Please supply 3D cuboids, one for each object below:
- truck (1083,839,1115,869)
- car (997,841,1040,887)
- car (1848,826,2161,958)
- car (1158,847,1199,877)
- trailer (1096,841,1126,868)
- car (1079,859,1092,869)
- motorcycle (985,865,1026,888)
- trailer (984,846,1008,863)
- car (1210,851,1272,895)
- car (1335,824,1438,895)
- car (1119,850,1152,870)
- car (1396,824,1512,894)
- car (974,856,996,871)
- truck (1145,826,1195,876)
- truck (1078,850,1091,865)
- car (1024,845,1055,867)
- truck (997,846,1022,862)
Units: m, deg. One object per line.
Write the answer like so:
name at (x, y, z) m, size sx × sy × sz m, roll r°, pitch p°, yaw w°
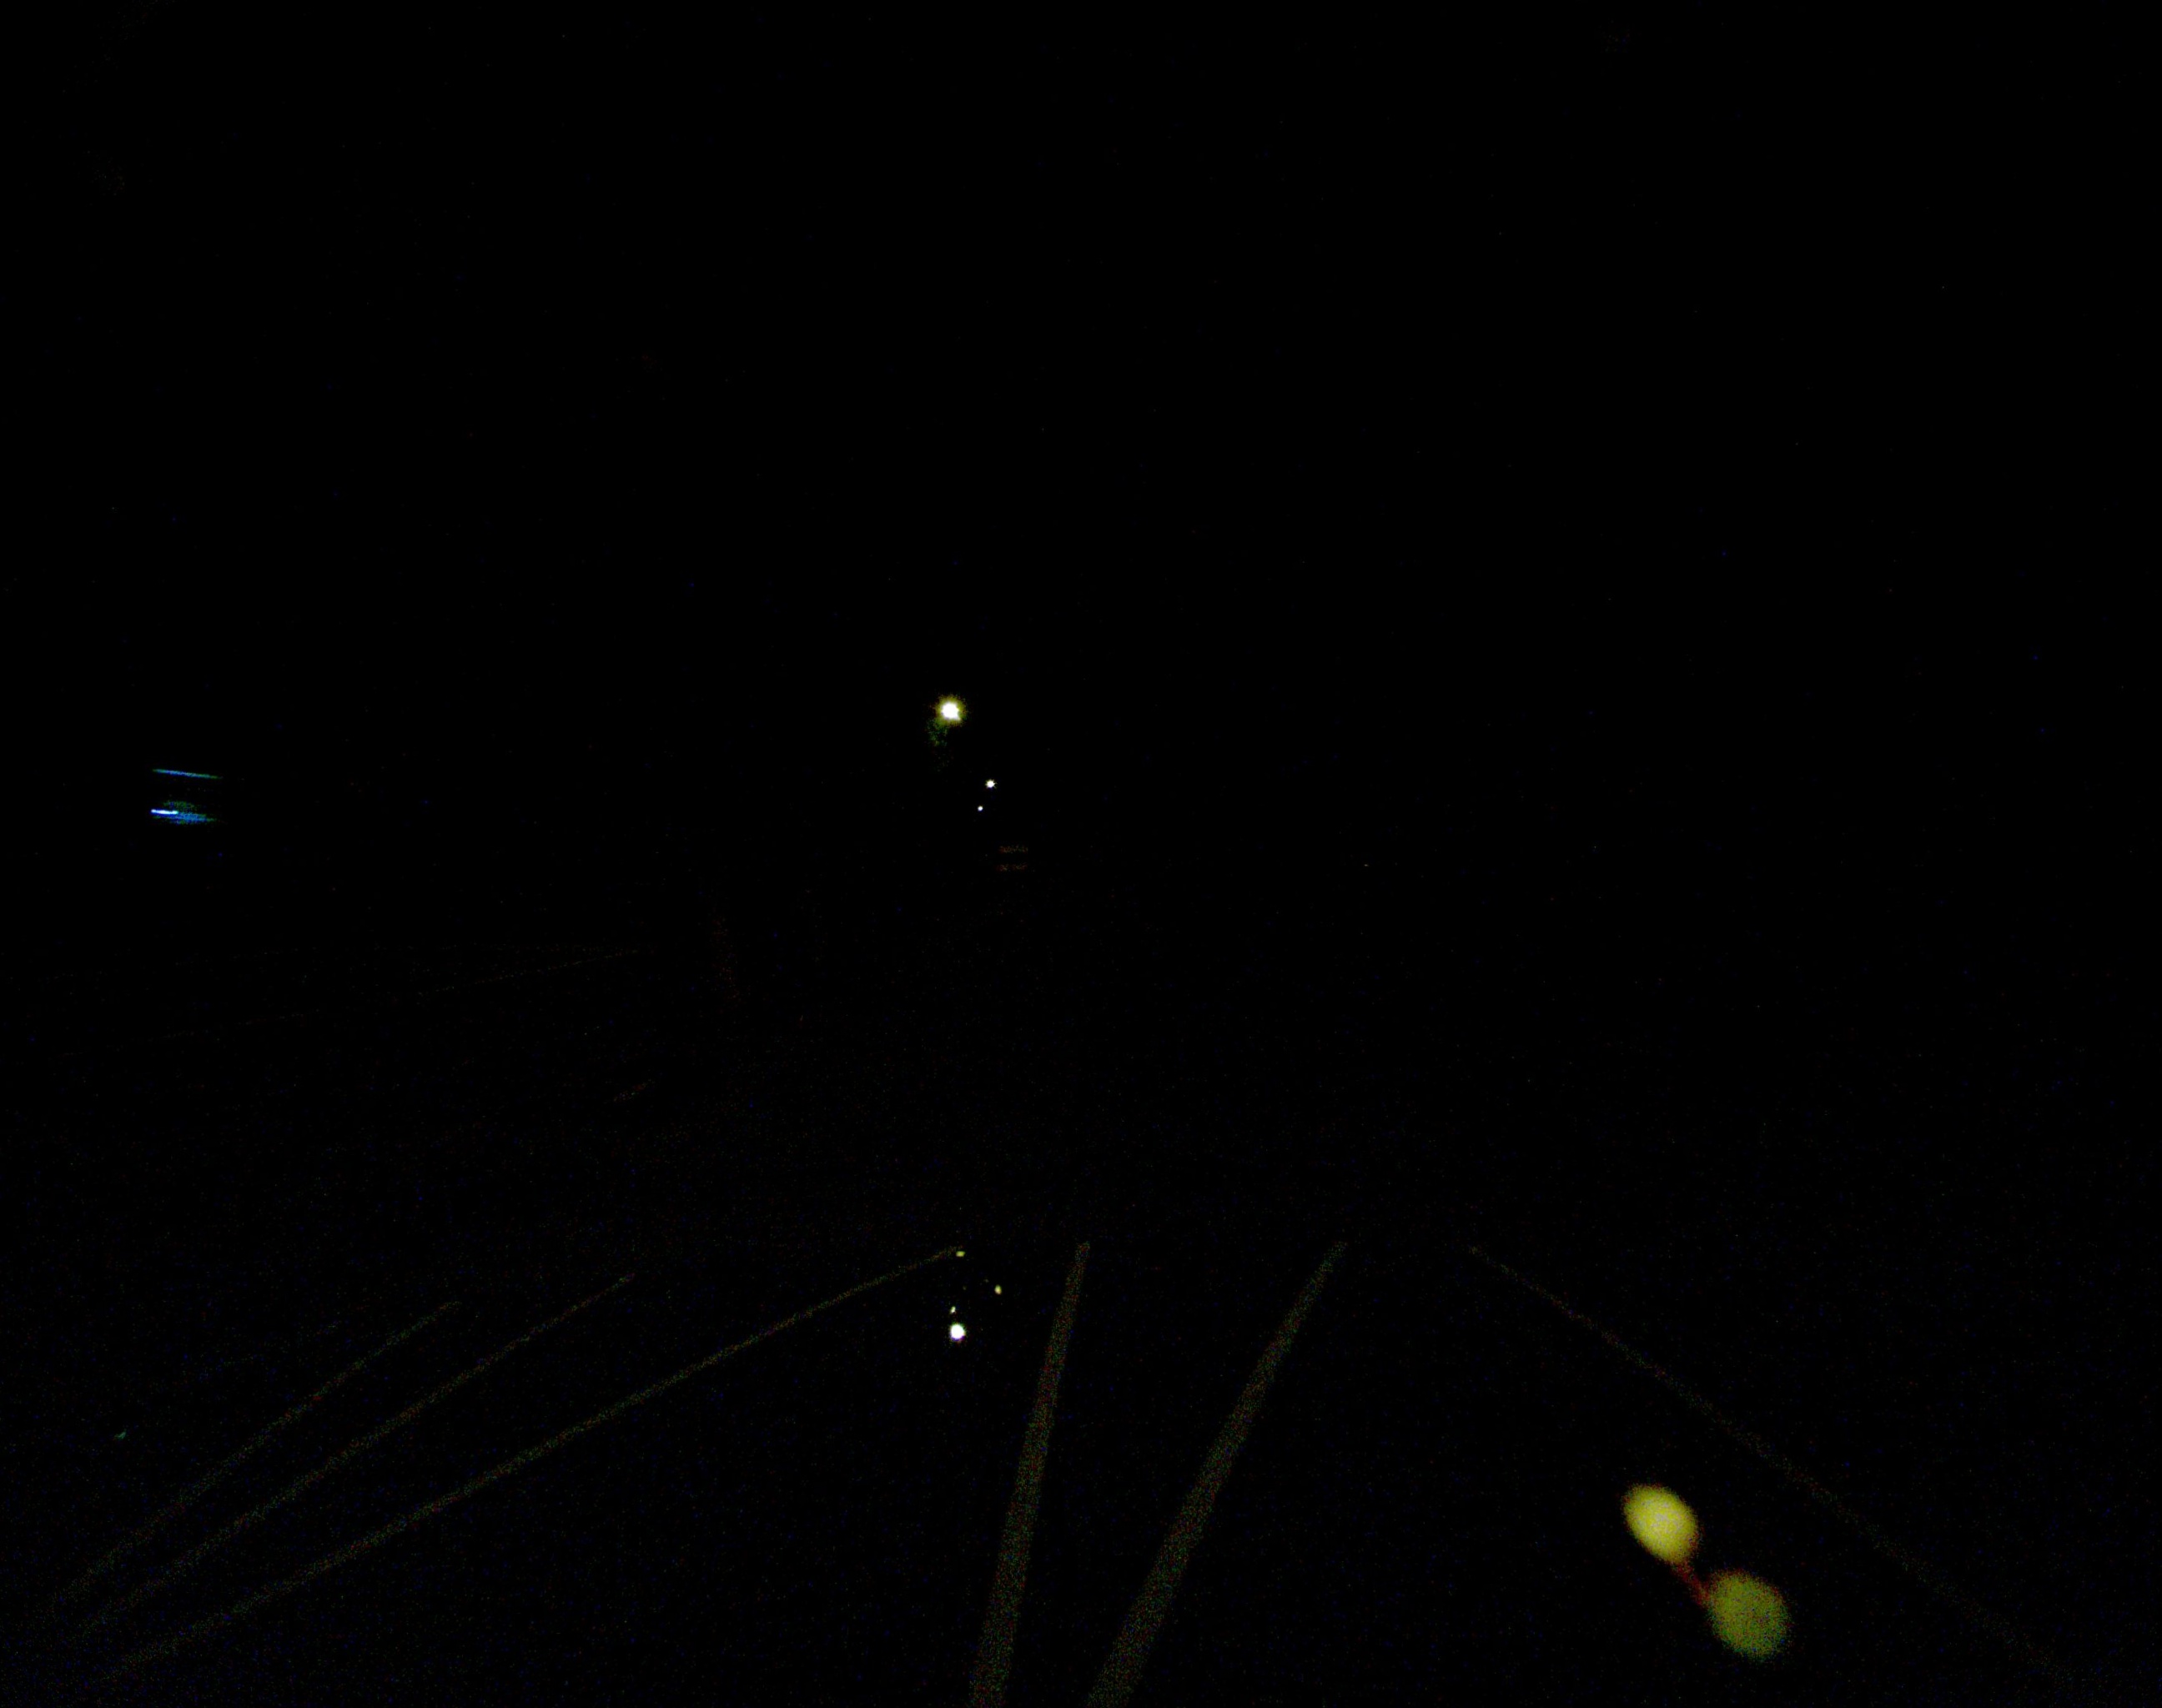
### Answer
truck at (1.989, -0.001, 89.038) m, size 2.381 × 3.224 × 7.225 m, roll -2°, pitch 0°, yaw -9°
car at (-3.763, 0.570, 46.517) m, size 2.026 × 2.512 × 6.051 m, roll -3°, pitch 0°, yaw 0°
car at (13.018, 0.442, 10.007) m, size 3.997 × 1.562 × 1.817 m, roll -1°, pitch 0°, yaw 0°
car at (6.083, 0.477, 47.818) m, size 1.834 × 1.806 × 4.837 m, roll -1°, pitch 0°, yaw -1°
trailer at (3.228, 0.029, 82.411) m, size 2.212 × 2.779 × 4.612 m, roll -2°, pitch 0°, yaw -11°
car at (0.707, 1.605, 126.505) m, size 1.862 × 1.630 × 3.999 m, roll -1°, pitch 0°, yaw -2°
motorcycle at (-4.205, 1.272, 42.314) m, size 2.180 × 1.177 × 0.770 m, roll -3°, pitch 1°, yaw 32°
trailer at (-15.656, 0.178, 139.351) m, size 2.493 × 3.055 × 7.940 m, roll -1°, pitch 0°, yaw -21°
car at (6.105, 0.688, 29.376) m, size 1.759 × 1.517 × 4.324 m, roll -2°, pitch 0°, yaw 5°
car at (10.799, 0.180, 27.262) m, size 1.998 × 2.308 × 4.968 m, roll 0°, pitch 0°, yaw 4°
car at (5.053, 0.581, 70.801) m, size 2.000 × 1.761 × 4.688 m, roll -2°, pitch 0°, yaw -10°
car at (13.467, 0.172, 27.808) m, size 2.212 × 2.308 × 4.625 m, roll -1°, pitch 0°, yaw 4°
car at (-14.072, 1.364, 111.312) m, size 2.001 × 2.002 × 5.346 m, roll -3°, pitch 0°, yaw -19°
truck at (6.323, -0.208, 54.798) m, size 2.550 × 3.261 × 7.311 m, roll -1°, pitch 0°, yaw -1°
truck at (0.611, 0.565, 136.566) m, size 2.138 × 2.597 × 7.098 m, roll -1°, pitch 0°, yaw -1°
car at (-6.574, 0.277, 118.437) m, size 2.392 × 3.224 × 7.218 m, roll -2°, pitch 0°, yaw -23°
truck at (-12.388, 0.039, 131.123) m, size 2.002 × 2.768 × 7.230 m, roll -1°, pitch 0°, yaw -23°
